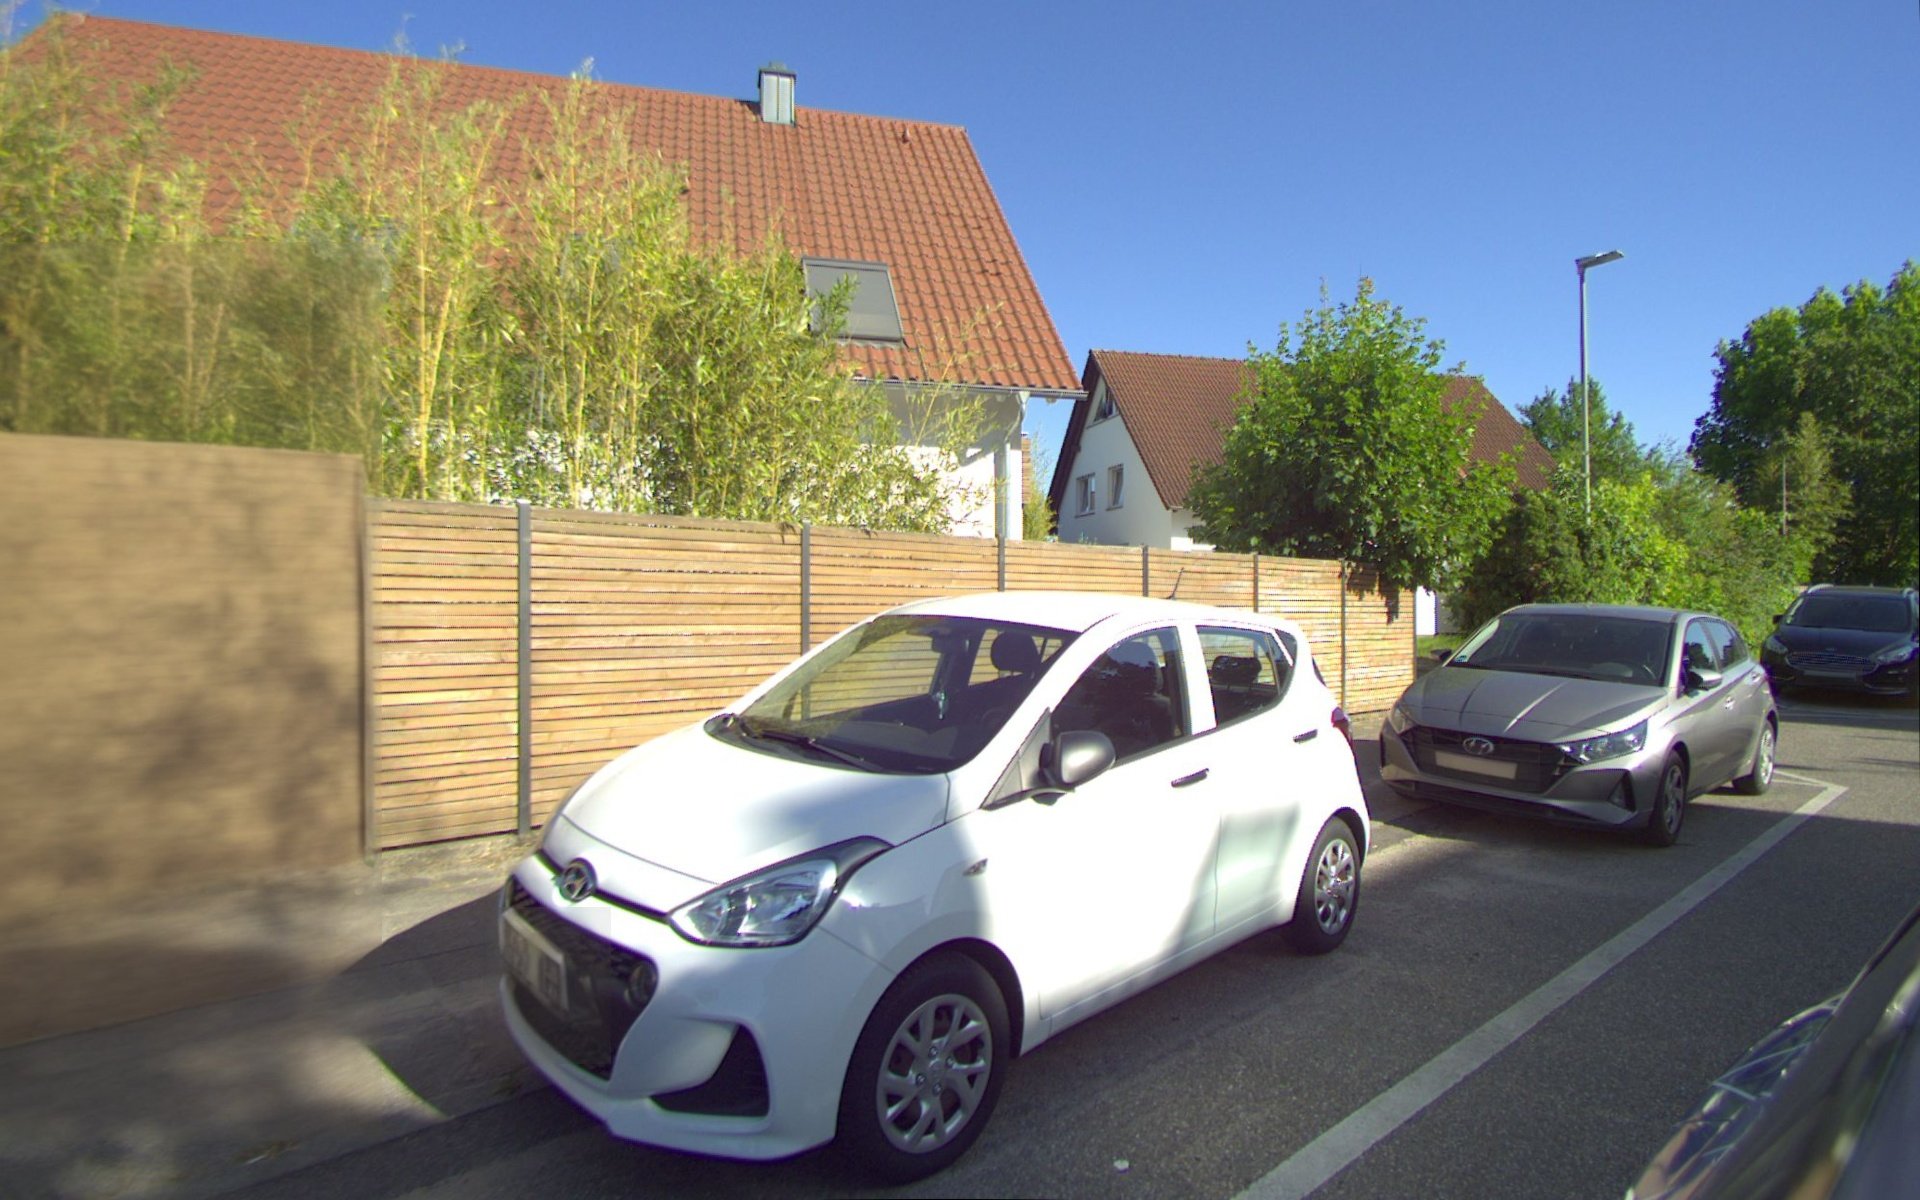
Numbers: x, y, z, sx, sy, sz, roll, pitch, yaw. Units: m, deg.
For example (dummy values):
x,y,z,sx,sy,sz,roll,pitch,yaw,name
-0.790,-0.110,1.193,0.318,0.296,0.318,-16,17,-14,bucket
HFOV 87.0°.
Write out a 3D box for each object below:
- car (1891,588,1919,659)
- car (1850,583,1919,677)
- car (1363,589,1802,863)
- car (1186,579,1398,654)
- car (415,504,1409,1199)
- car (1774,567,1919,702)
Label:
x,y,z,sx,sy,sz,roll,pitch,yaw,name
23.823,0.551,23.883,4.573,1.583,1.769,0,1,-35,car
19.045,0.546,19.823,4.316,1.697,1.766,0,1,-40,car
4.742,0.699,7.503,3.820,1.512,1.645,0,1,-40,car
7.672,0.297,24.086,2.468,1.558,5.106,0,1,-14,car
0.157,0.615,4.001,3.754,1.621,1.725,0,0,-45,car
14.228,0.458,15.758,4.353,1.836,1.745,0,1,-42,car
